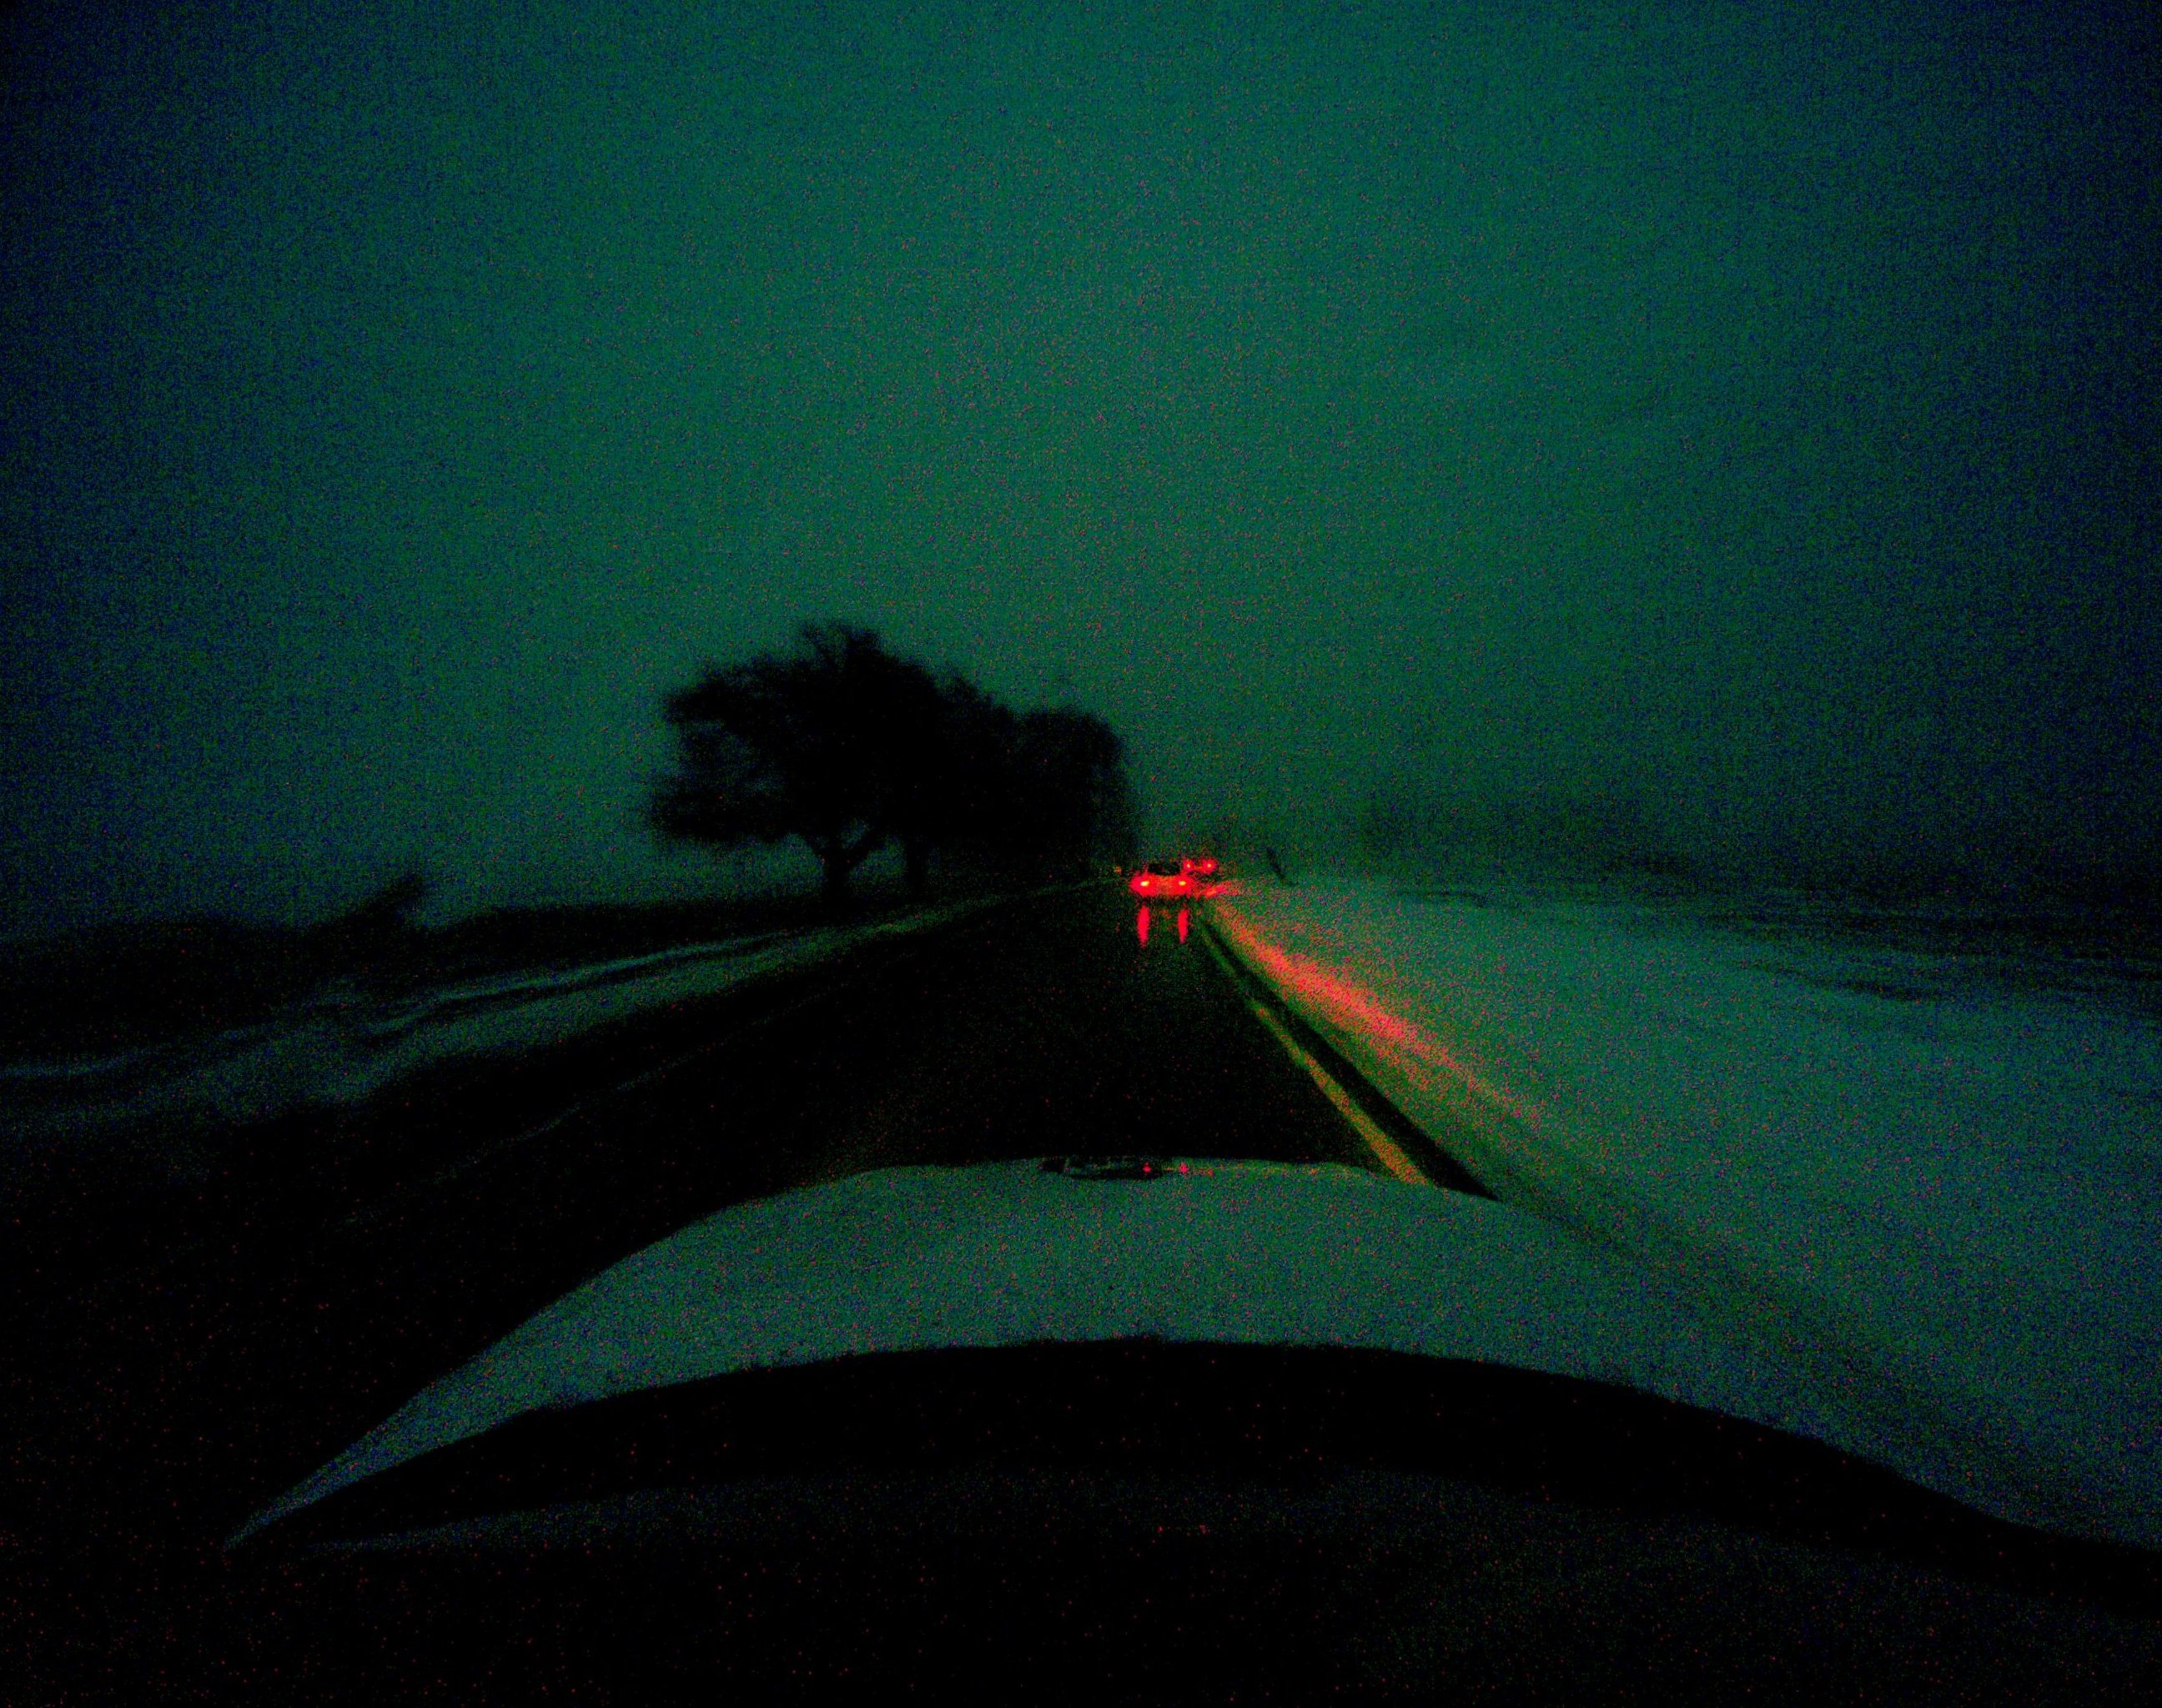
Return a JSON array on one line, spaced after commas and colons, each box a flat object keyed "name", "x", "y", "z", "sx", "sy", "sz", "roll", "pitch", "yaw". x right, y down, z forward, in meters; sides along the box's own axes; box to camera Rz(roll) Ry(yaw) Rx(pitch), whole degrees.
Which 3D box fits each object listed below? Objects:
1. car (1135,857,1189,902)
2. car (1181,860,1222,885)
[{"name": "car", "x": 2.806, "y": 0.857, "z": 28.742, "sx": 1.700, "sy": 1.463, "sz": 4.003, "roll": 0, "pitch": 0, "yaw": 3}, {"name": "car", "x": 7.565, "y": 1.145, "z": 50.972, "sx": 1.464, "sy": 1.508, "sz": 3.071, "roll": -2, "pitch": -1, "yaw": 29}]
